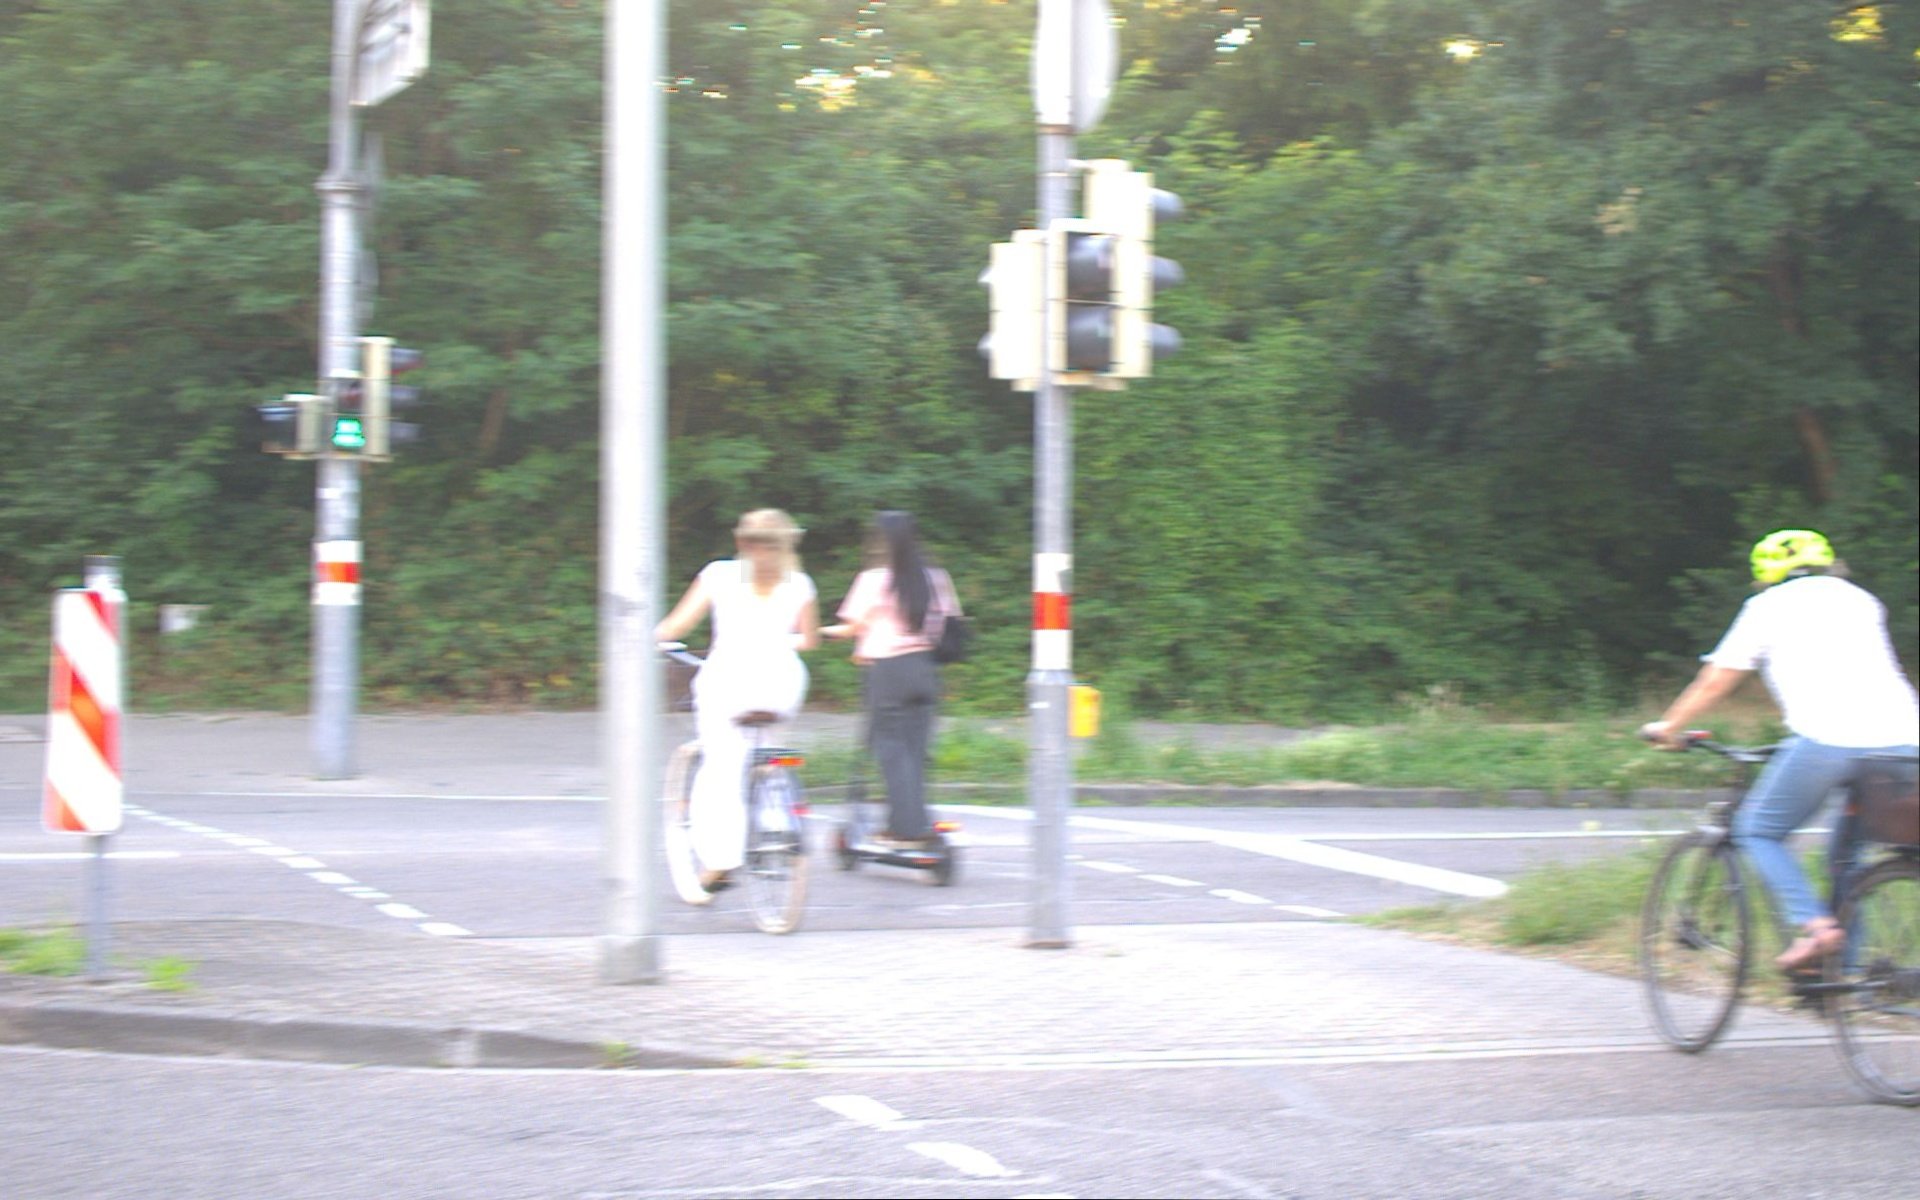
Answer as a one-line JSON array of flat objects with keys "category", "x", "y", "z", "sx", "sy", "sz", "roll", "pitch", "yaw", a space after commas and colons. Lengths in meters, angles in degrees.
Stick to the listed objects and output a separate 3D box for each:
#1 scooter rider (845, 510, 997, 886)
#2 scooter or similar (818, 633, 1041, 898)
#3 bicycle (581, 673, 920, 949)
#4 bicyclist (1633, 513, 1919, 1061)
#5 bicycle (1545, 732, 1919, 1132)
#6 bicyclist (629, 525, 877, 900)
[{"category": "scooter rider", "x": -0.191, "y": 0.461, "z": 16.463, "sx": 0.565, "sy": 1.760, "sz": 0.505, "roll": 1, "pitch": 0, "yaw": -22}, {"category": "scooter or similar", "x": -0.163, "y": 0.762, "z": 16.392, "sx": 0.562, "sy": 1.185, "sz": 1.422, "roll": 1, "pitch": 0, "yaw": -22}, {"category": "bicycle", "x": -0.921, "y": 0.852, "z": 14.495, "sx": 0.770, "sy": 1.003, "sz": 2.017, "roll": 1, "pitch": 0, "yaw": -23}, {"category": "bicyclist", "x": 2.532, "y": 0.529, "z": 10.329, "sx": 0.554, "sy": 1.564, "sz": 0.899, "roll": 0, "pitch": 0, "yaw": -26}, {"category": "bicycle", "x": 2.530, "y": 0.948, "z": 10.331, "sx": 0.563, "sy": 1.011, "sz": 1.802, "roll": 0, "pitch": 1, "yaw": -26}, {"category": "bicyclist", "x": -0.879, "y": 0.455, "z": 14.414, "sx": 0.759, "sy": 1.512, "sz": 0.857, "roll": 1, "pitch": 0, "yaw": -23}]
